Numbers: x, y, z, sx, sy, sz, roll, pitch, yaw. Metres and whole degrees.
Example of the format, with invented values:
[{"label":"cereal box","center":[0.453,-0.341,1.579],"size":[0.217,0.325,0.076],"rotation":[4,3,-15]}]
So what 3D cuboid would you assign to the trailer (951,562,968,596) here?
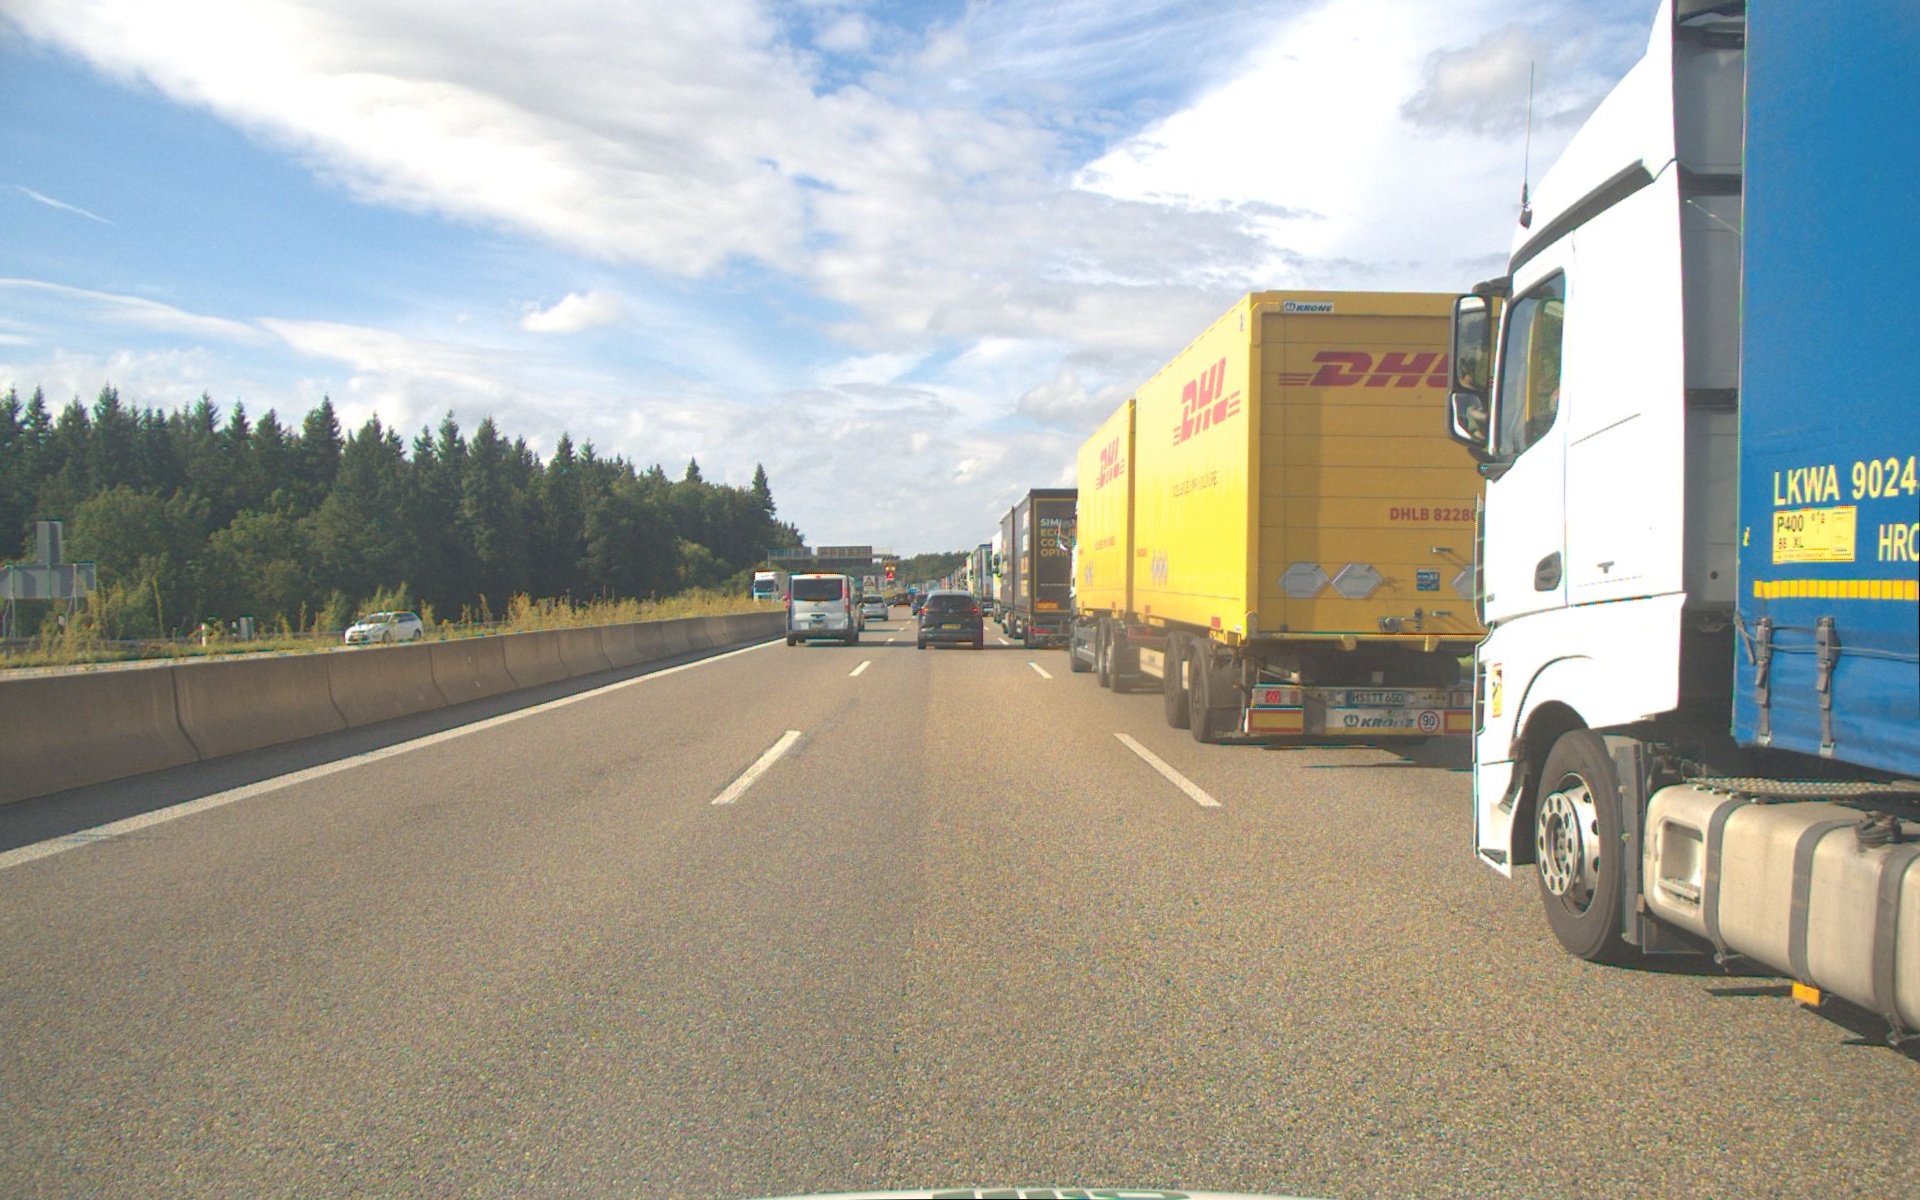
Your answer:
[{"label":"trailer","center":[-0.074,-2.676,218.041],"size":[2.106,4.333,8.439],"rotation":[-2,0,0]}]

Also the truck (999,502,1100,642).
[{"label":"truck","center":[2.798,-0.829,54.563],"size":[2.684,4.109,10.202],"rotation":[1,0,0]}]

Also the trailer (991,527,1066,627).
[{"label":"trailer","center":[2.892,-0.920,73.078],"size":[2.734,4.008,13.069],"rotation":[-1,0,0]}]

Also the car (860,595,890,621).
[{"label":"car","center":[-4.745,0.443,92.541],"size":[1.469,1.420,3.475],"rotation":[1,0,-1]}]

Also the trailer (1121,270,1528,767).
[{"label":"trailer","center":[3.510,-0.704,18.414],"size":[2.363,4.139,8.925],"rotation":[1,0,-1]}]

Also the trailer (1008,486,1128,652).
[{"label":"trailer","center":[2.783,-0.799,45.106],"size":[2.660,4.030,8.711],"rotation":[1,1,0]}]

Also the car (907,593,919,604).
[{"label":"car","center":[-5.840,-0.170,205.072],"size":[1.405,1.333,3.532],"rotation":[1,0,-1]}]

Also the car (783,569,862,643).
[{"label":"car","center":[-3.916,0.169,47.911],"size":[1.893,2.013,5.097],"rotation":[1,0,-1]}]

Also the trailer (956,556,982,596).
[{"label":"trailer","center":[0.999,-2.688,189.666],"size":[2.745,4.318,11.056],"rotation":[-2,0,0]}]

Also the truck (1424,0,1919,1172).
[{"label":"truck","center":[3.798,-0.570,5.332],"size":[2.594,4.161,6.489],"rotation":[1,0,-1]}]

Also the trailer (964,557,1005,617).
[{"label":"trailer","center":[1.779,-0.987,124.946],"size":[2.648,4.153,12.942],"rotation":[-2,0,-1]}]

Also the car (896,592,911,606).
[{"label":"car","center":[-5.735,-0.119,167.861],"size":[1.405,1.333,3.532],"rotation":[1,0,-1]}]

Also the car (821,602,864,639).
[{"label":"car","center":[-4.680,0.791,66.052],"size":[1.469,1.420,3.475],"rotation":[1,0,-1]}]

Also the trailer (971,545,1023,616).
[{"label":"trailer","center":[2.128,-1.086,99.380],"size":[2.607,3.936,13.392],"rotation":[-2,0,-1]}]

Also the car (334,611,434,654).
[{"label":"car","center":[-26.096,1.446,75.172],"size":[1.951,1.831,4.981],"rotation":[1,0,12]}]

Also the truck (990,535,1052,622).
[{"label":"truck","center":[2.895,-0.990,79.613],"size":[2.744,4.008,5.825],"rotation":[-1,0,0]}]

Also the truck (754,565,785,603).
[{"label":"truck","center":[-21.083,-1.727,183.140],"size":[2.762,4.045,5.831],"rotation":[-1,0,-1]}]

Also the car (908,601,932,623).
[{"label":"car","center":[-2.665,0.776,110.275],"size":[1.549,1.420,3.207],"rotation":[1,0,-1]}]

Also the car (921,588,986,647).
[{"label":"car","center":[-0.190,0.464,45.034],"size":[1.662,1.509,4.159],"rotation":[1,0,-1]}]

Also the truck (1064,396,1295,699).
[{"label":"truck","center":[3.351,-0.744,27.723],"size":[2.363,4.139,9.663],"rotation":[1,0,-1]}]
